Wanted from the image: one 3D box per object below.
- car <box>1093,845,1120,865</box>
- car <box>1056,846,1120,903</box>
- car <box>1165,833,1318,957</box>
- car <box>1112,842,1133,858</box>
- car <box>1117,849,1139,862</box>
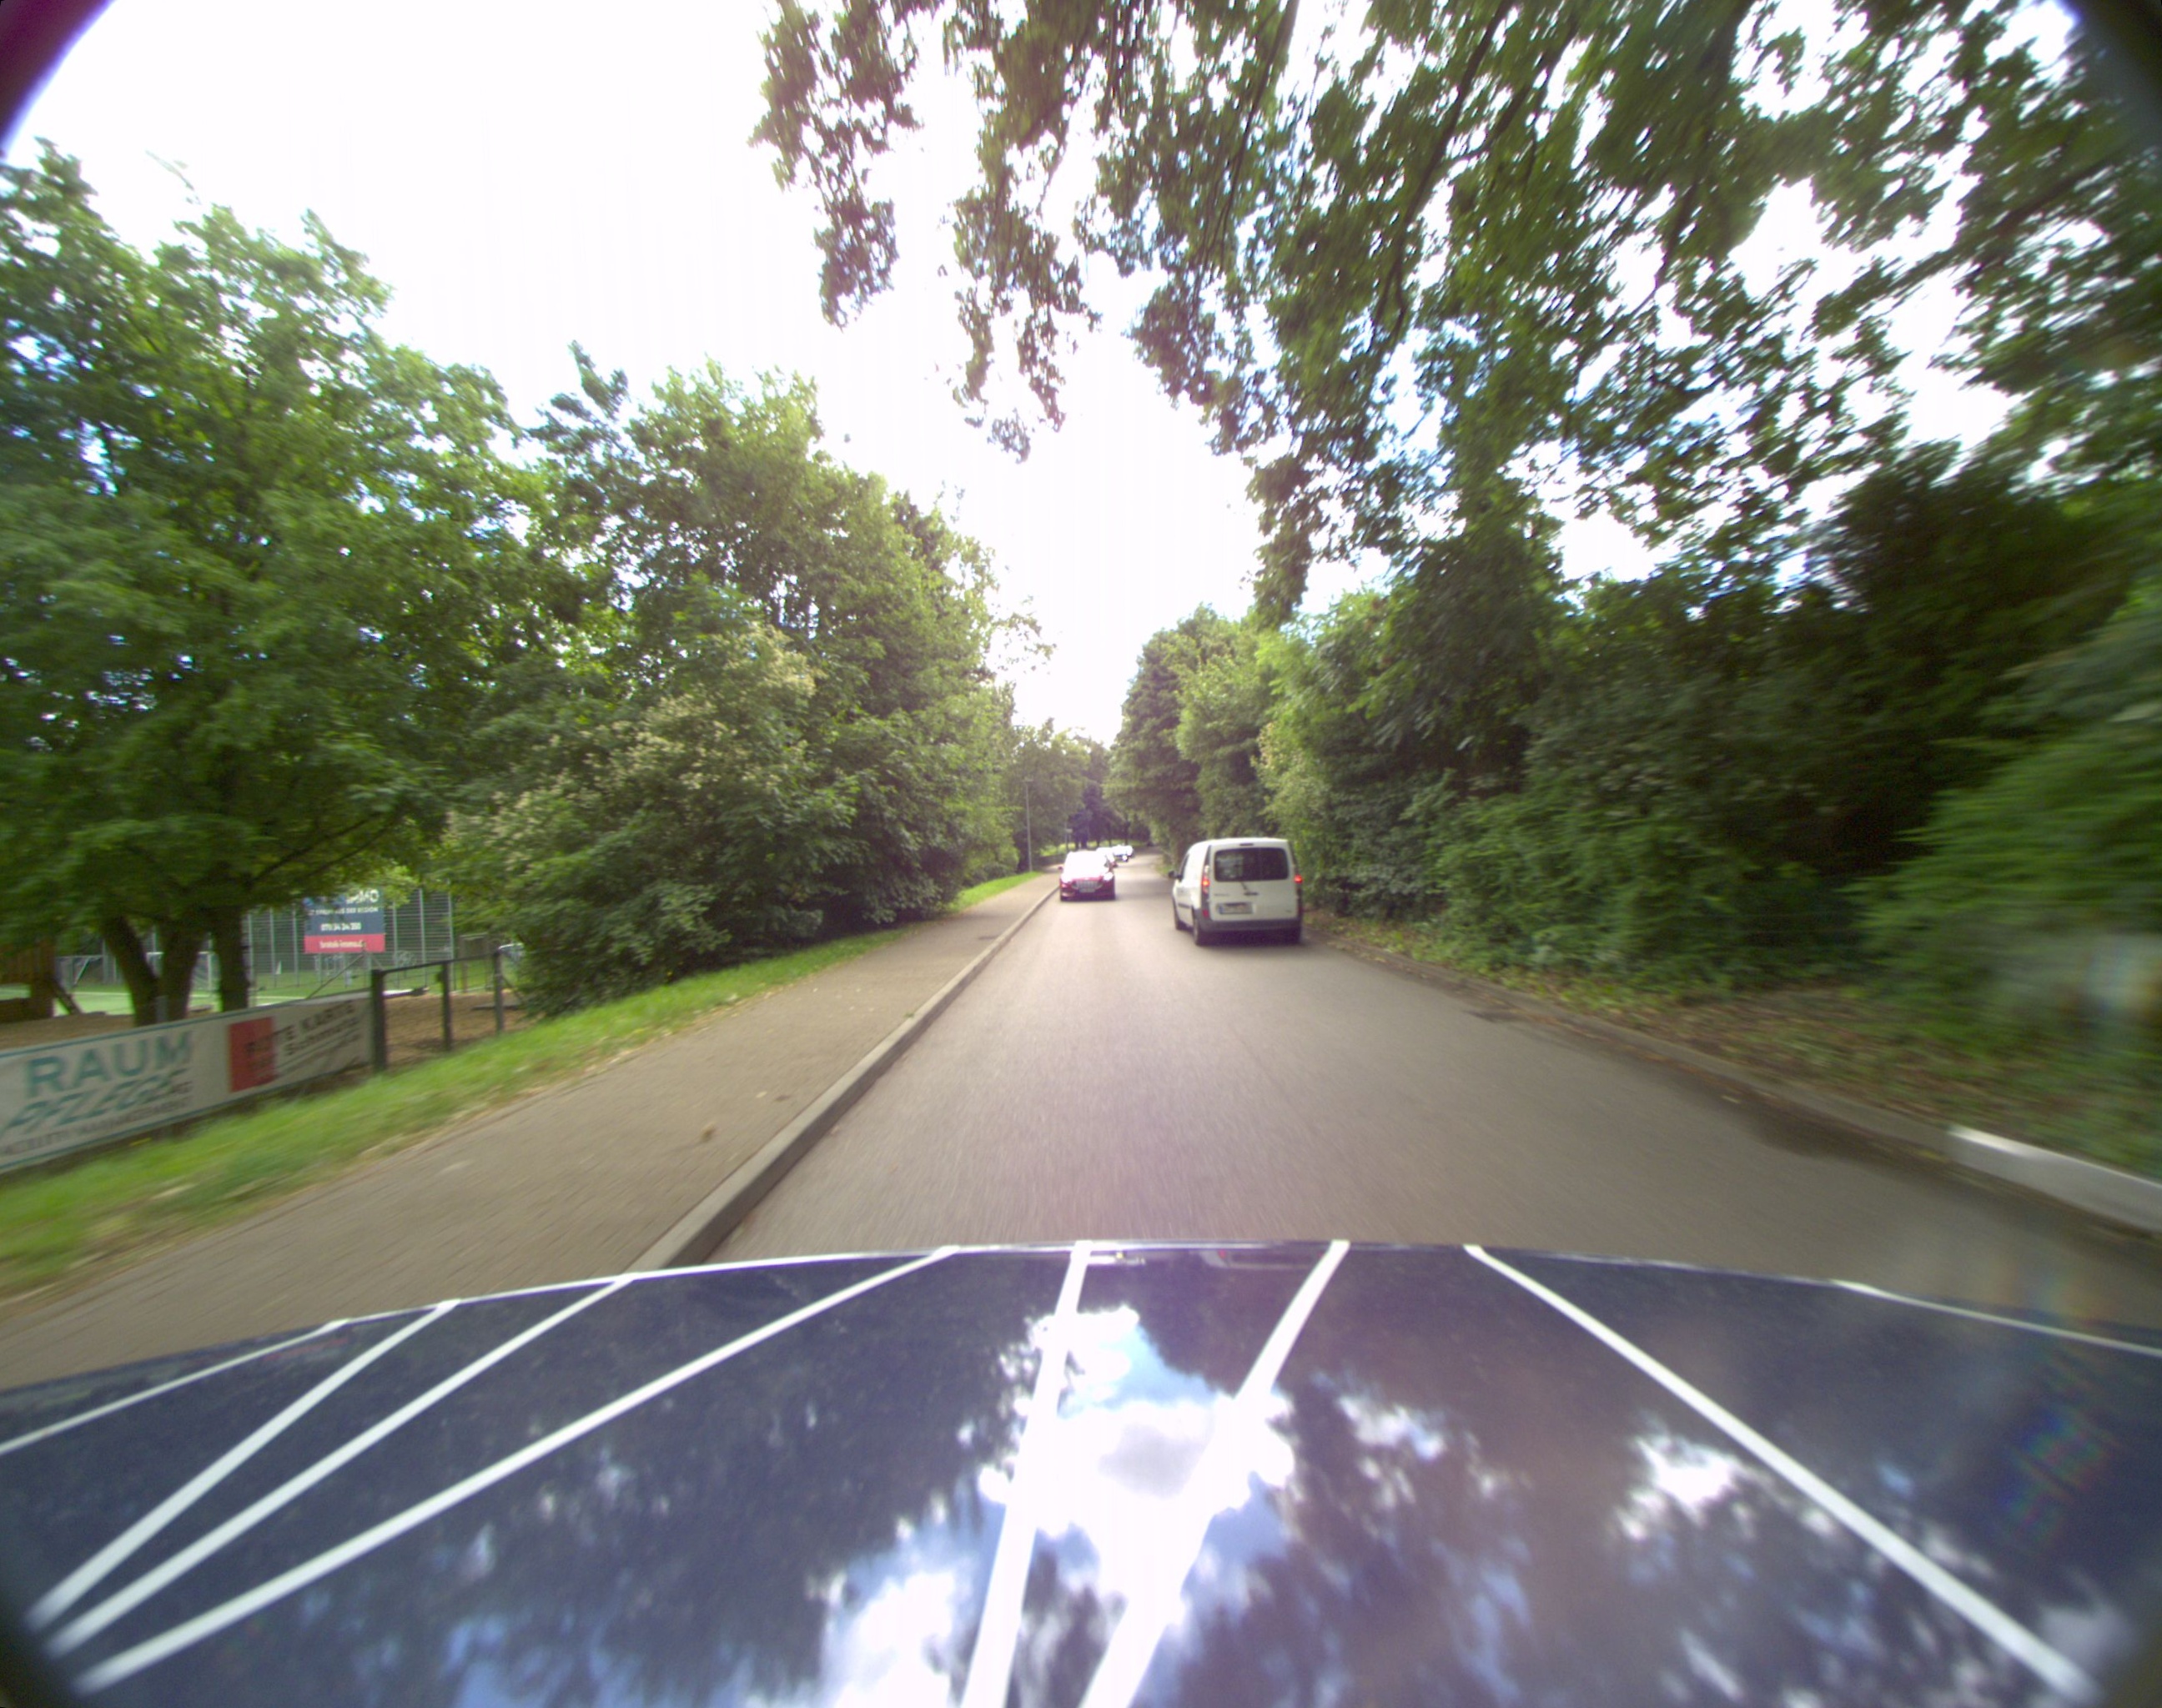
[{"bbox_3d":[2.185,0.066,64.057,1.997,1.521,4.001,-2,1,6],"label":"car"},{"bbox_3d":[0.316,0.635,26.028,1.816,1.718,4.001,-1,1,6],"label":"car"},{"bbox_3d":[2.769,0.612,14.149,1.878,1.903,4.430,-2,1,0],"label":"car"},{"bbox_3d":[4.349,-0.458,79.361,1.997,1.521,4.001,-2,1,6],"label":"car"},{"bbox_3d":[5.996,0.142,96.103,1.996,1.521,4.003,-1,1,14],"label":"car"}]
